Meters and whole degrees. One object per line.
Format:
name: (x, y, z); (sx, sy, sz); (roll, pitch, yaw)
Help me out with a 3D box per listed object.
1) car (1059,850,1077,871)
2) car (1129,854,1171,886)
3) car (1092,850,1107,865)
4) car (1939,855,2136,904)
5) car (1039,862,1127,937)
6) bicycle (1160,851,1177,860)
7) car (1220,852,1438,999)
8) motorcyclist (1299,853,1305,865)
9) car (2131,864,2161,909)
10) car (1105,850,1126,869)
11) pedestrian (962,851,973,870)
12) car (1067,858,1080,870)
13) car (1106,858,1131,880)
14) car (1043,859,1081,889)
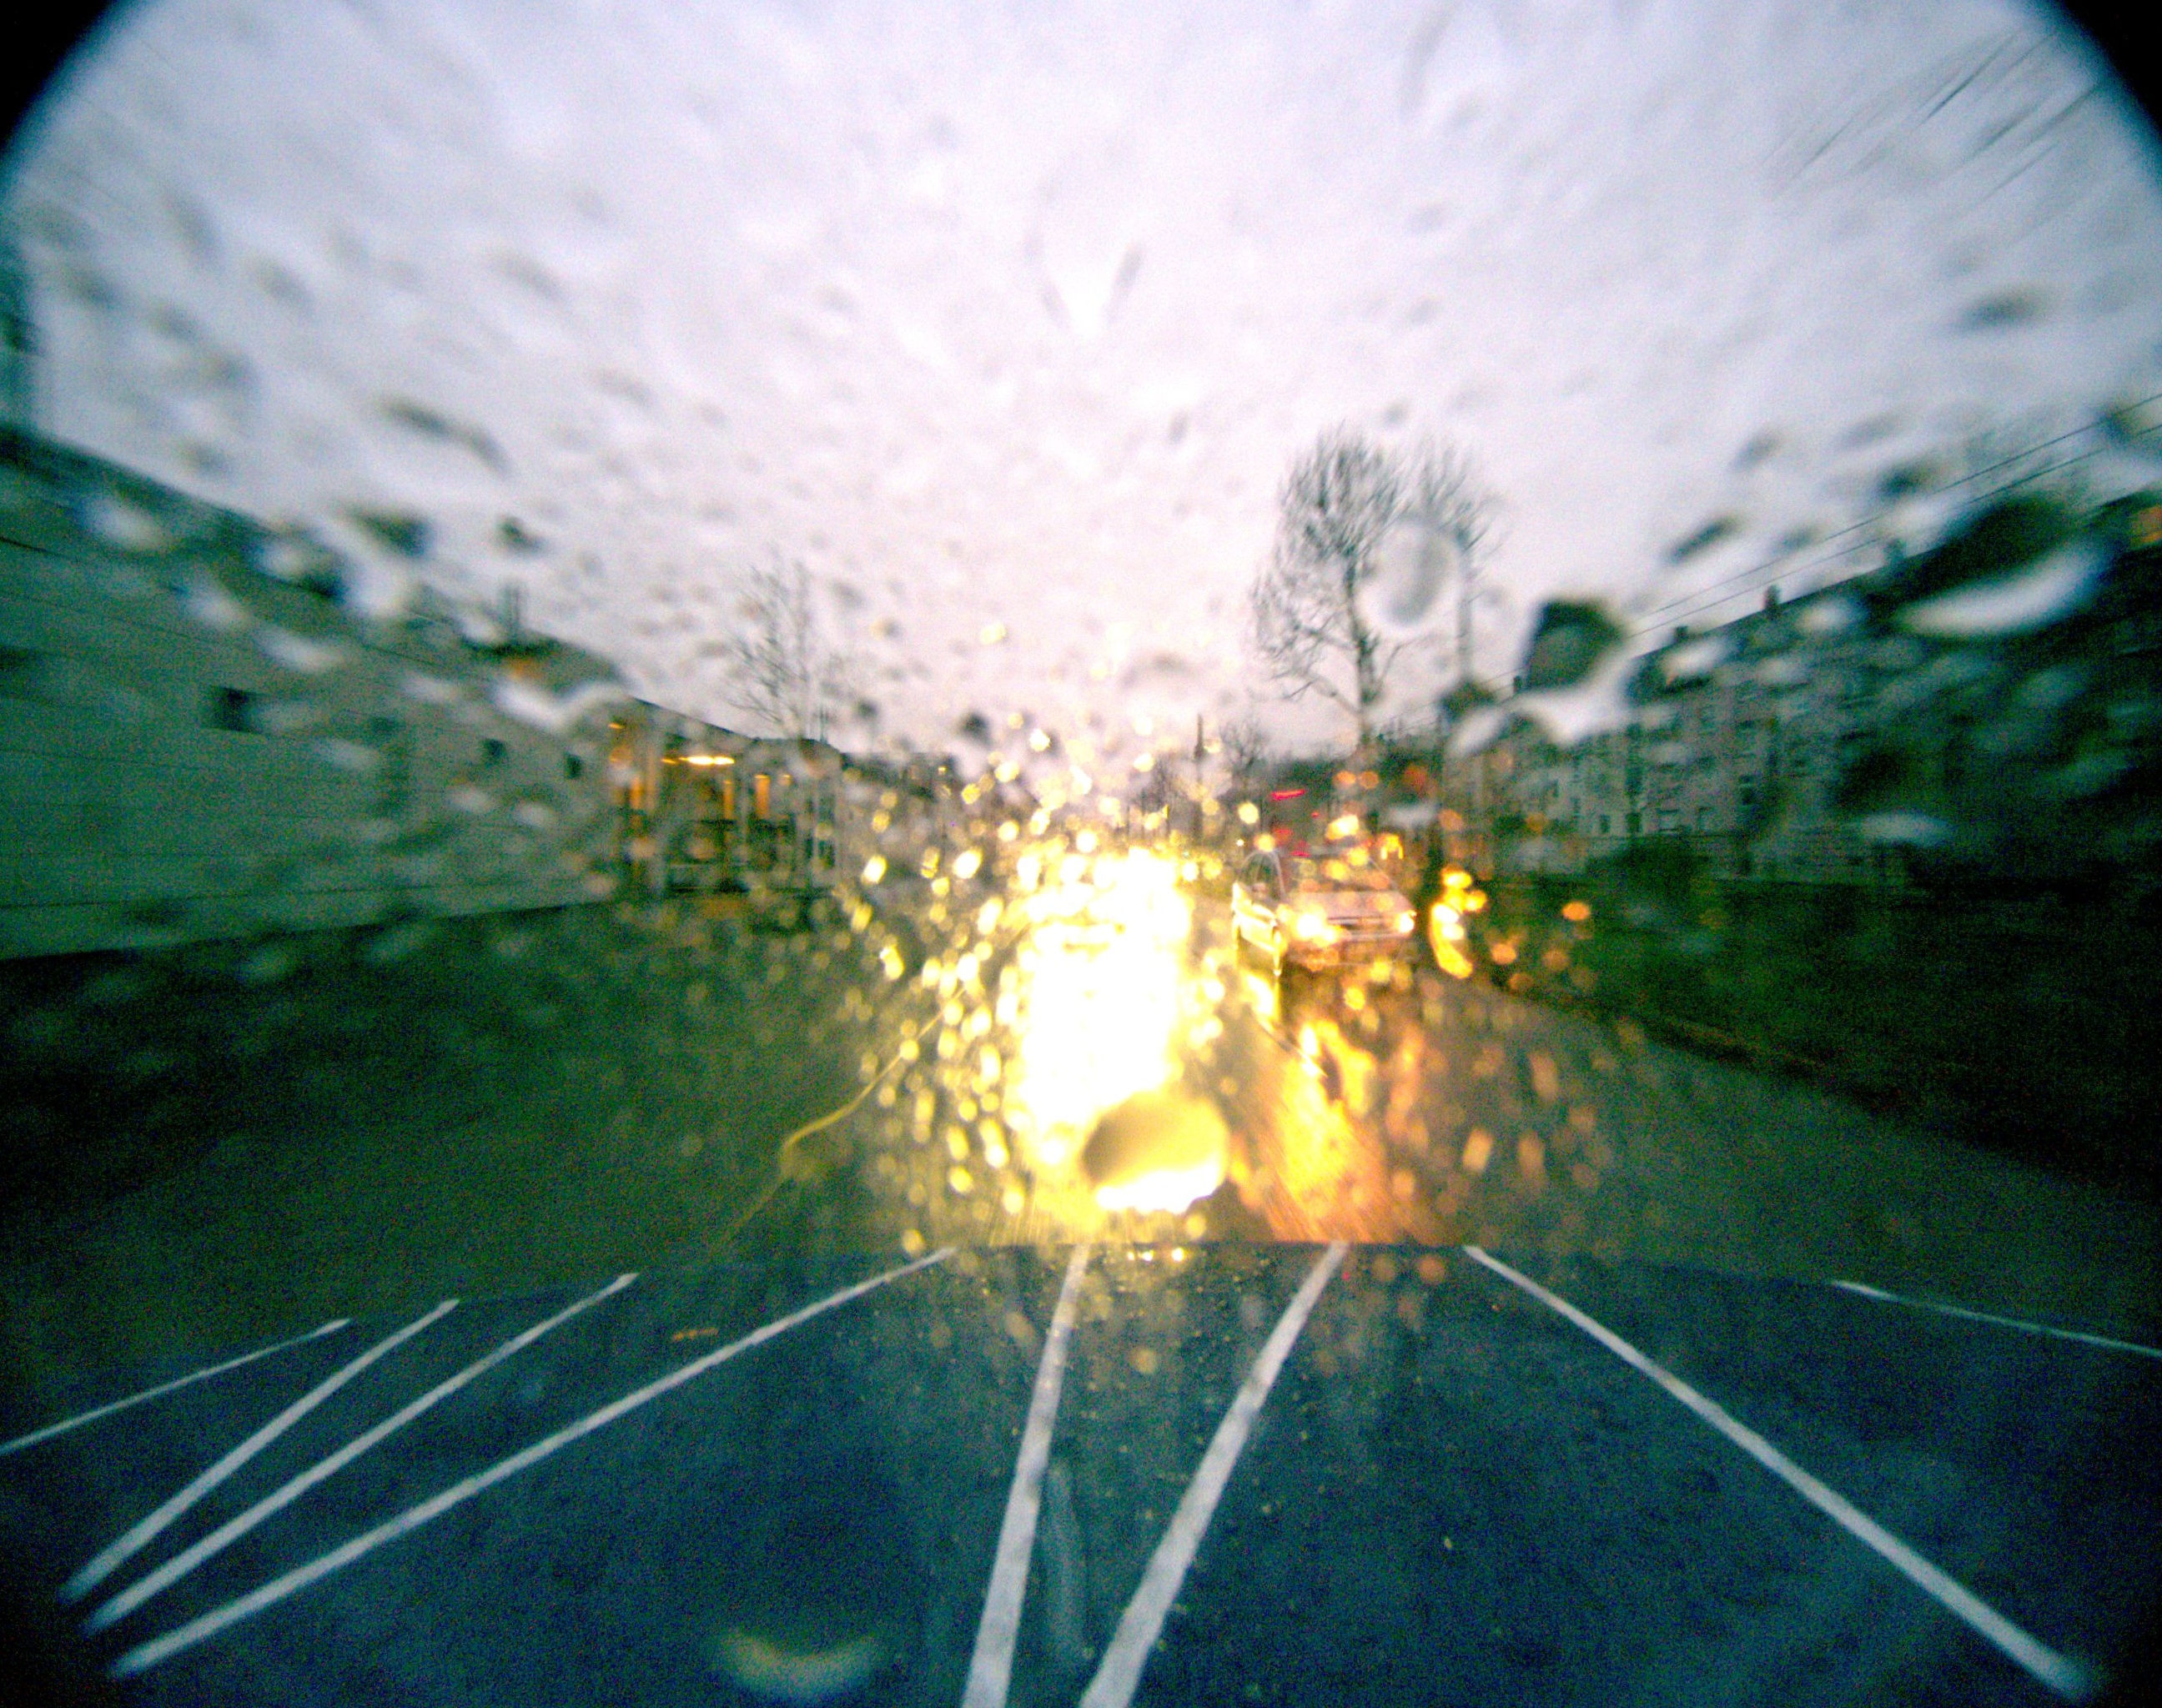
car: (-1.305, 0.621, 76.261); (1.671, 2.002, 3.774); (-2, 1, 1)
car: (3.529, 0.804, 39.216); (1.905, 1.475, 3.655); (-2, 1, 2)
car: (2.158, 0.444, 91.137); (1.686, 1.669, 3.468); (-2, 1, 1)
car: (30.311, 0.762, 24.273); (1.468, 1.332, 3.910); (-2, 1, 3)
car: (0.060, 0.919, 16.749); (1.669, 1.325, 3.786); (-2, 1, 0)
bicycle: (9.248, 0.164, 80.254); (1.725, 0.893, 0.733); (1, 2, 1)
car: (3.042, 0.766, 10.183); (1.638, 1.511, 3.907); (-2, 1, 0)
motorcyclist: (20.862, 0.482, 71.695); (0.415, 1.055, 0.345); (-2, 1, 7)
car: (29.783, 0.895, 19.112); (1.233, 1.162, 3.898); (-2, 1, -3)
car: (3.275, 0.478, 73.386); (1.802, 1.674, 3.805); (-2, 1, 0)
pedestrian: (-10.140, 0.575, 67.757); (0.814, 1.621, 0.883); (2, 1, 0)
car: (-1.174, 1.500, 113.637); (1.787, 1.690, 3.639); (-2, 1, 1)
car: (2.595, 1.019, 53.010); (1.538, 1.347, 3.546); (-2, 1, 0)
car: (-0.880, 0.967, 37.751); (1.737, 1.311, 3.803); (-2, 1, 0)
